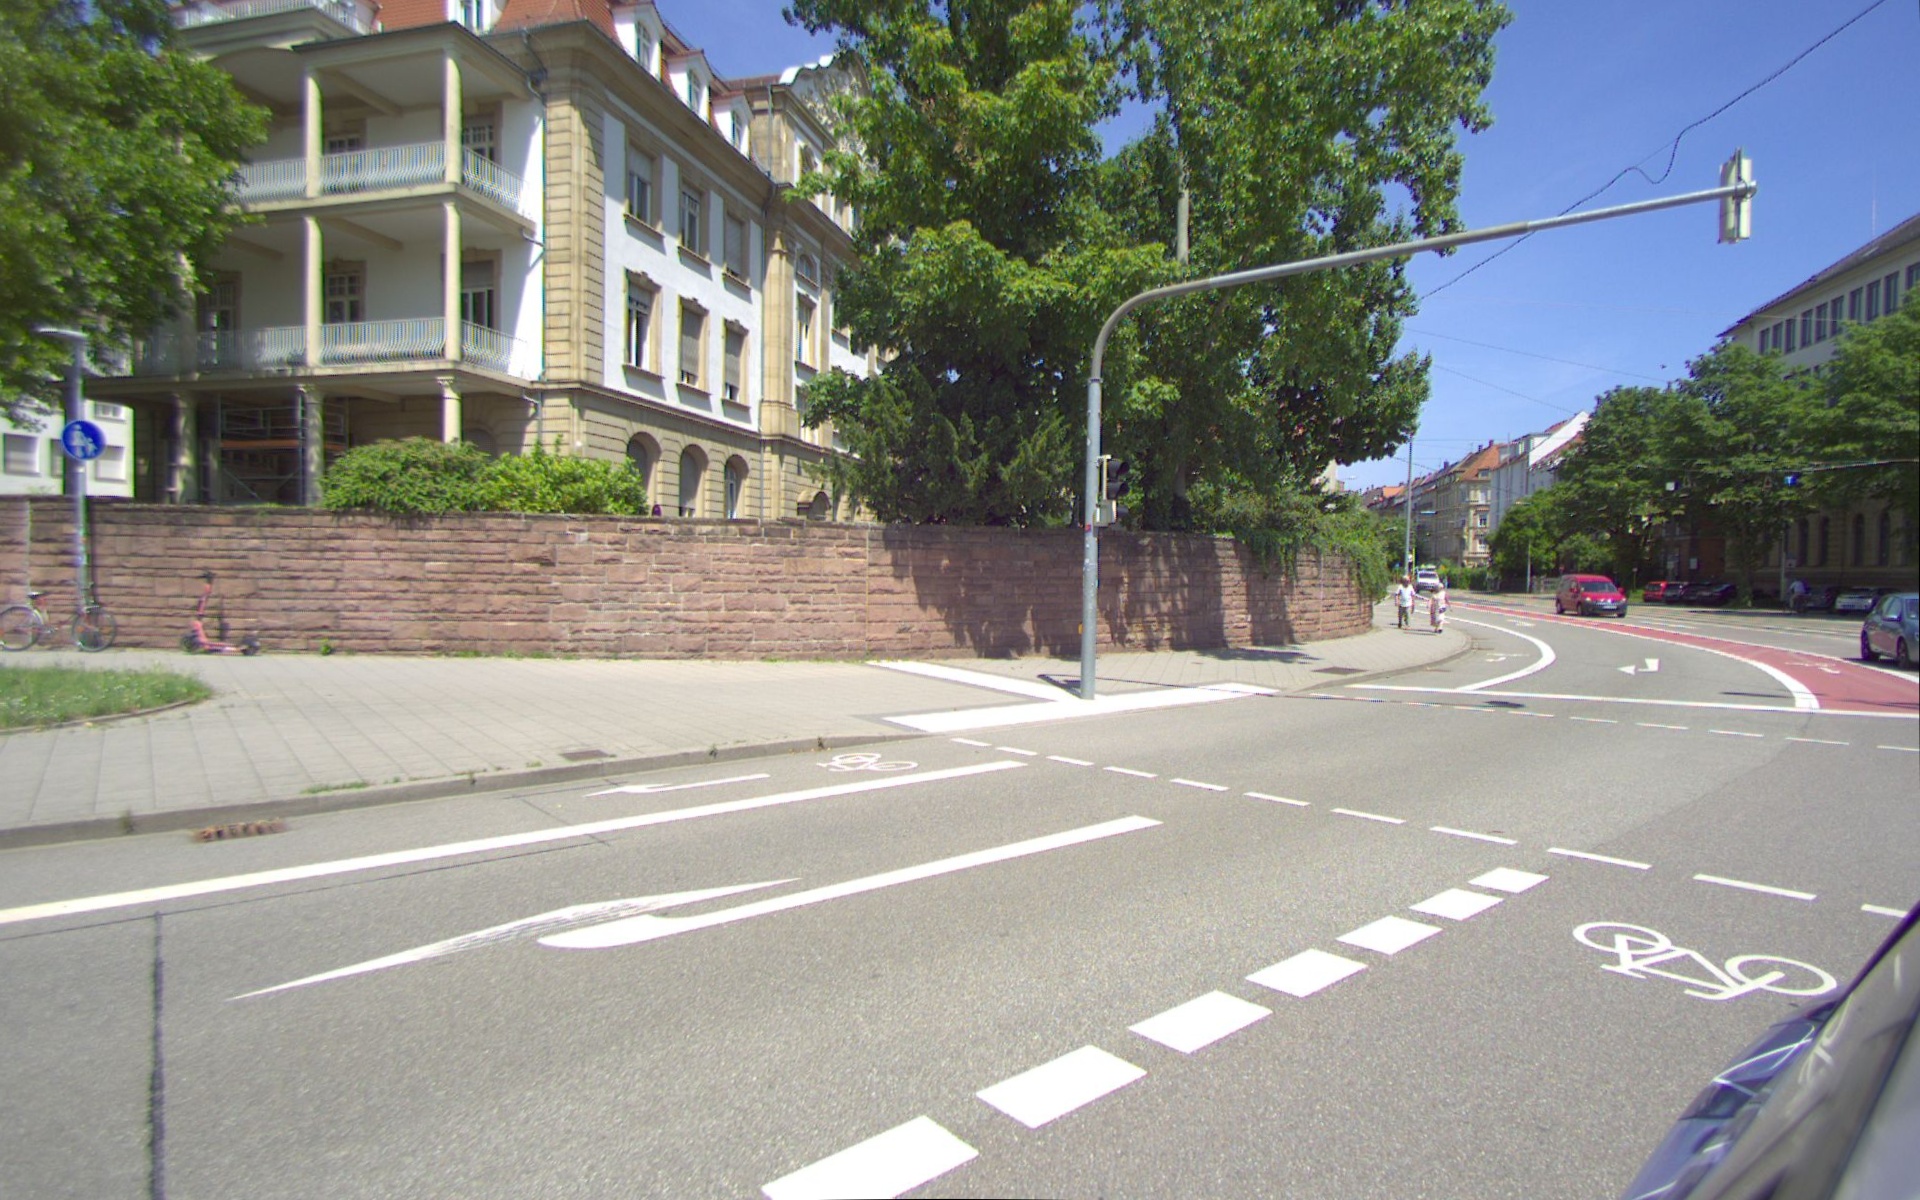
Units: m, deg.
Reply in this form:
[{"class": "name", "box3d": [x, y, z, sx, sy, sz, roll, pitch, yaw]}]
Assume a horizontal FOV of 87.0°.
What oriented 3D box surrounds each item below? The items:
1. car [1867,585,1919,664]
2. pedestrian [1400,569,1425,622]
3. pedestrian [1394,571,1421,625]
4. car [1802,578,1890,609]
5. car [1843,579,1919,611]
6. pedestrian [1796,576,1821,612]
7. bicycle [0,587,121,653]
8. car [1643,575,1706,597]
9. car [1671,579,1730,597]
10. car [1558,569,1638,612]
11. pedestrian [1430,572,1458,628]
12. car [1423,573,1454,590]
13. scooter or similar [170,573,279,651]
[{"class": "car", "box3d": [19.379, 0.449, 19.676, 1.819, 1.432, 3.952, 1, 2, 31]}, {"class": "pedestrian", "box3d": [15.159, -0.162, 33.909, 0.597, 1.734, 0.555, 3, 1, 17]}, {"class": "pedestrian", "box3d": [13.998, -0.062, 31.663, 0.597, 1.631, 0.555, 4, 1, 18]}, {"class": "car", "box3d": [44.801, -0.322, 51.218, 3.089, 1.481, 1.572, -1, 0, -2]}, {"class": "car", "box3d": [44.606, -0.243, 48.307, 3.484, 1.438, 1.572, -1, 0, -1]}, {"class": "pedestrian", "box3d": [40.424, -0.301, 48.218, 0.715, 1.691, 0.640, 1, 1, 20]}, {"class": "bicycle", "box3d": [-13.445, 0.288, 14.883, 1.743, 0.940, 0.678, -1, 0, 5]}, {"class": "car", "box3d": [49.963, -0.962, 70.768, 3.504, 1.471, 1.619, -1, 0, -13]}, {"class": "car", "box3d": [48.810, -0.786, 66.734, 2.931, 1.113, 1.282, -1, 0, -2]}, {"class": "car", "box3d": [28.185, -0.406, 44.856, 1.808, 1.788, 4.259, -1, 0, 15]}, {"class": "pedestrian", "box3d": [14.594, -0.002, 30.538, 0.597, 1.631, 0.555, 4, 1, 18]}, {"class": "car", "box3d": [41.265, -1.652, 87.416, 1.809, 1.409, 4.256, 1, 2, 17]}, {"class": "scooter or similar", "box3d": [-10.893, 0.179, 15.011, 1.323, 1.122, 0.375, -1, 0, -2]}]
